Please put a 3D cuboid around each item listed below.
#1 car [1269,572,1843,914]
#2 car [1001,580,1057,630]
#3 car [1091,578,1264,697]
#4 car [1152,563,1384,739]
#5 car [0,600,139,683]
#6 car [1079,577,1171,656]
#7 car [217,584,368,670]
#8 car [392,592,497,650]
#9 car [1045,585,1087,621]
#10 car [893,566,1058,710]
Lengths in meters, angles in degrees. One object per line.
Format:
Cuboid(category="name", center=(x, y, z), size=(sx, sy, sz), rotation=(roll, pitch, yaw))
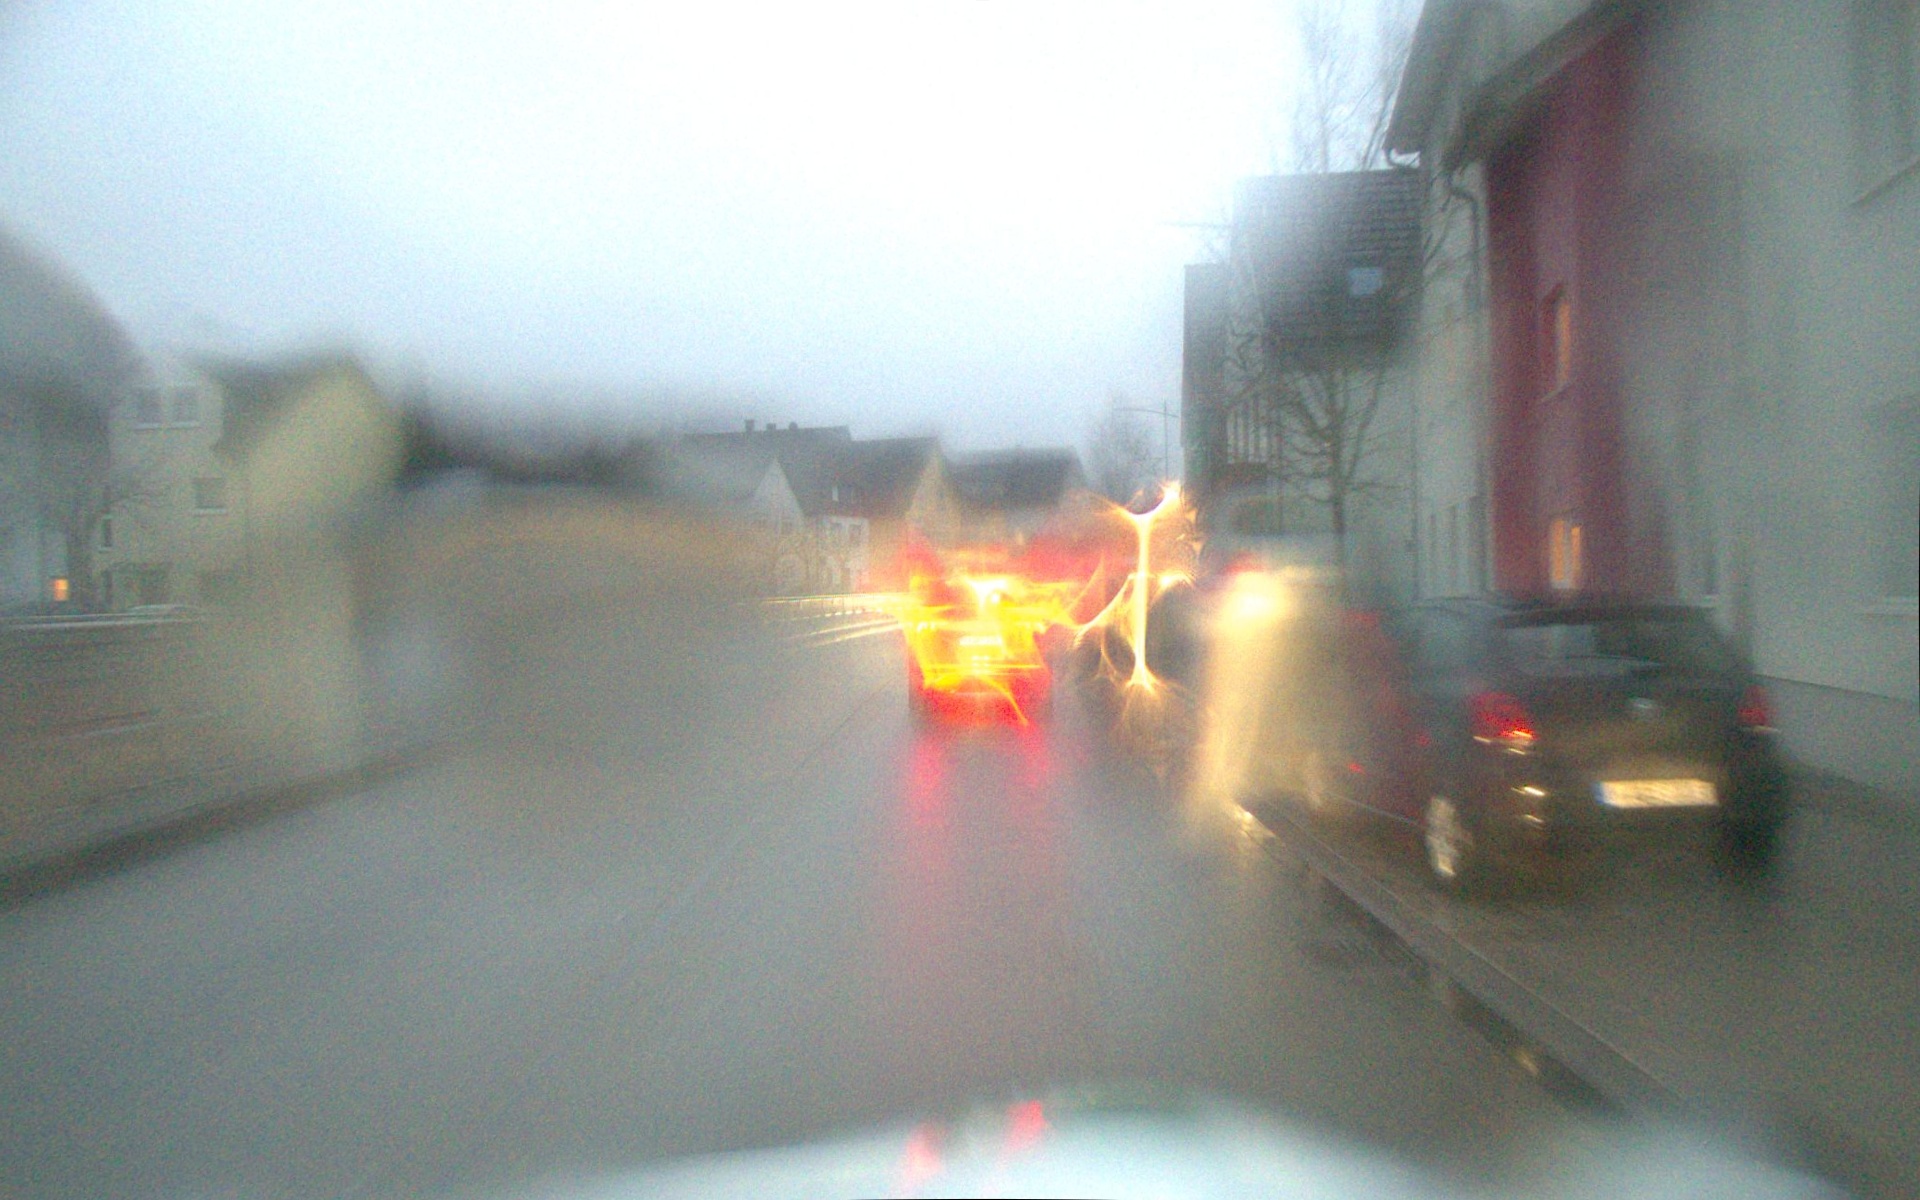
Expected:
Cuboid(category="car", center=(3.102, 0.617, 9.598), size=(1.668, 1.476, 4.190), rotation=(-2, 1, -2))
Cuboid(category="car", center=(2.167, 0.119, 51.826), size=(1.647, 1.478, 4.002), rotation=(1, 1, 3))
Cuboid(category="car", center=(3.108, 0.469, 24.657), size=(1.916, 1.559, 5.009), rotation=(1, 1, 0))
Cuboid(category="car", center=(3.156, 0.458, 17.790), size=(1.630, 1.603, 4.497), rotation=(-2, 0, 0))
Cuboid(category="car", center=(-20.728, 0.892, 37.596), size=(1.819, 1.711, 4.003), rotation=(1, 1, 5))
Cuboid(category="car", center=(3.462, 0.304, 35.342), size=(1.618, 1.480, 4.239), rotation=(-4, 0, 2))
Cuboid(category="car", center=(-15.399, 0.598, 38.368), size=(1.762, 1.835, 3.862), rotation=(-2, 0, 2))
Cuboid(category="car", center=(-18.481, 0.729, 59.527), size=(1.834, 1.809, 4.505), rotation=(-3, 1, 7))
Cuboid(category="car", center=(4.643, 0.120, 72.482), size=(1.776, 1.436, 4.003), rotation=(-1, 2, 4))
Cuboid(category="car", center=(0.154, 0.403, 21.578), size=(1.924, 1.622, 4.313), rotation=(-1, 2, -1))
